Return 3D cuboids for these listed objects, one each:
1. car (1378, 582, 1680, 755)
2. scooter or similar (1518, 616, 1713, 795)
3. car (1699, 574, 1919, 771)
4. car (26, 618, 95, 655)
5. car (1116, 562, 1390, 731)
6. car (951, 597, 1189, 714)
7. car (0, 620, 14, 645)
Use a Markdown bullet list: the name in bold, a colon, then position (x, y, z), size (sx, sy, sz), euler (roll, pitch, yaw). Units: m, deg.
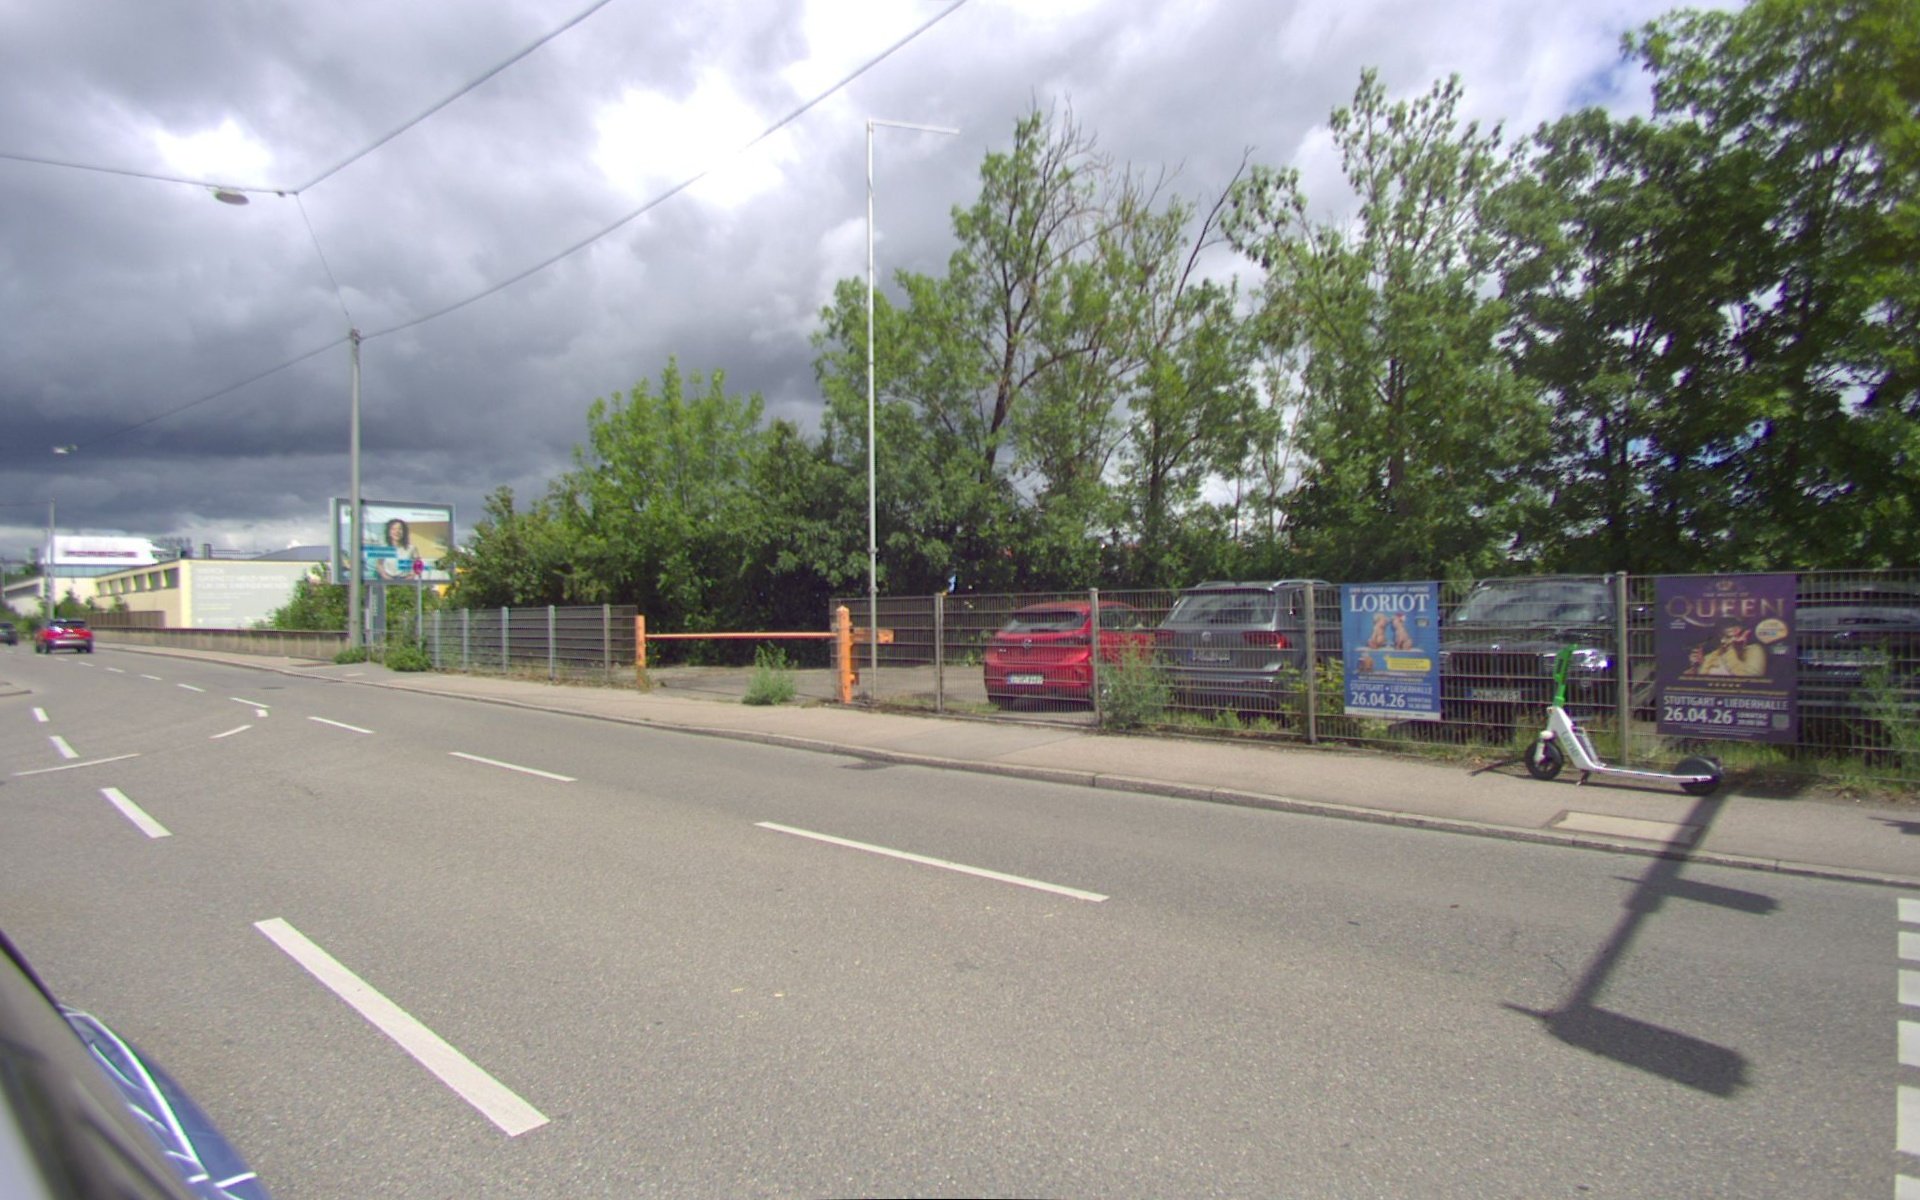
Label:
- **car**: position (6.078, 0.578, 10.578), size (1.999, 1.429, 4.060), euler (-1, -1, 40)
- **scooter or similar**: position (4.858, 0.742, 7.540), size (0.419, 1.219, 1.127), euler (-2, 1, -44)
- **car**: position (7.979, 0.528, 9.096), size (1.997, 1.429, 4.063), euler (-1, -1, 38)
- **car**: position (-41.549, 1.687, 46.722), size (4.152, 1.611, 1.910), euler (-2, -3, 42)
- **car**: position (3.815, 0.506, 12.696), size (1.997, 1.748, 4.065), euler (-1, -1, 37)
- **car**: position (1.700, 0.697, 14.491), size (1.897, 1.429, 3.822), euler (-1, -1, 33)
- **car**: position (-64.848, 2.212, 67.822), size (3.999, 1.630, 1.836), euler (-2, -1, 42)
